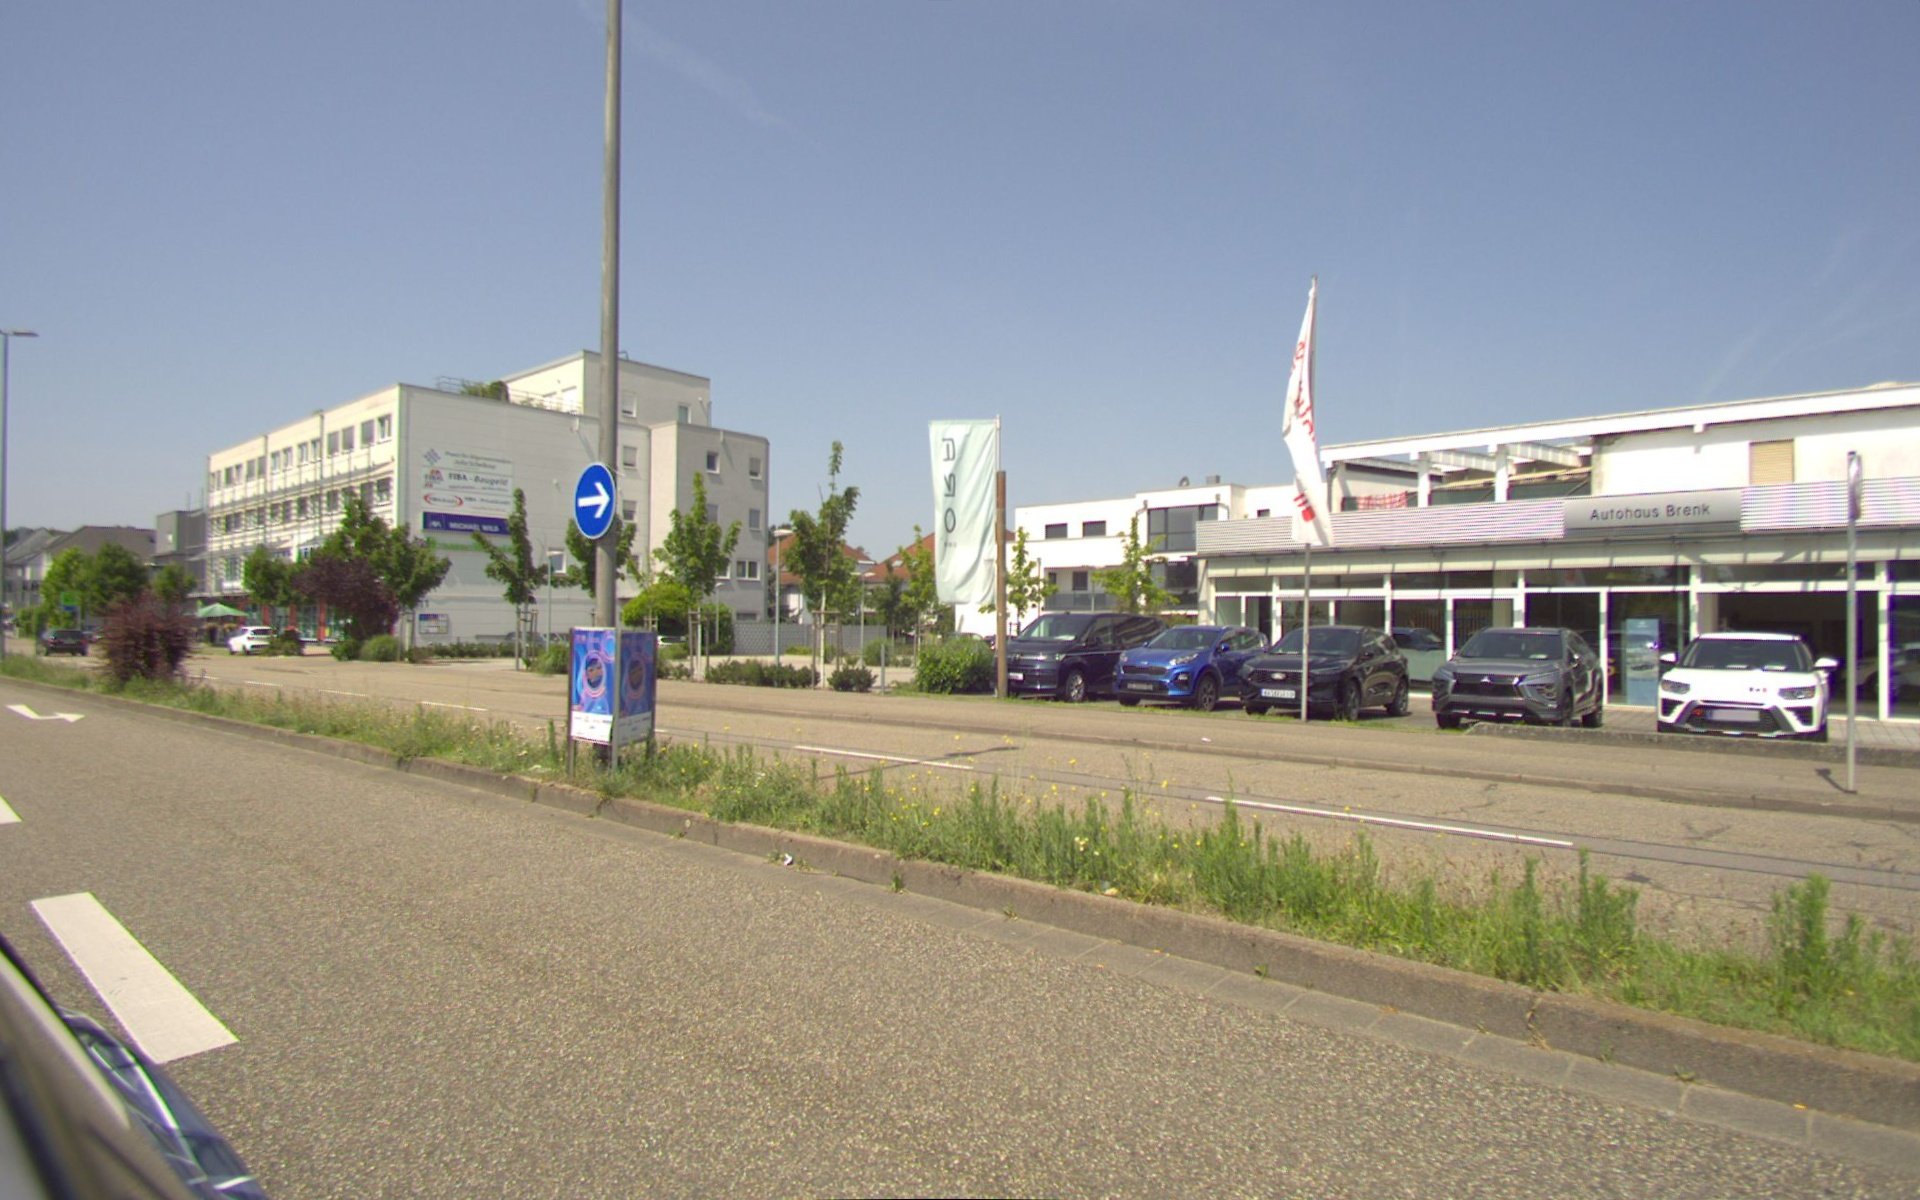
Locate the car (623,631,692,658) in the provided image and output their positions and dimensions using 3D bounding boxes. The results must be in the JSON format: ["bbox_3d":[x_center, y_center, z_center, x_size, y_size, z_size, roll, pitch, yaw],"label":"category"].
[{"bbox_3d":[-16.391,2.390,54.698,3.833,1.394,1.899,-2,-3,43],"label":"car"}]

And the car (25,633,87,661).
[{"bbox_3d":[-49.621,2.543,55.540,4.707,1.472,1.810,-1,-3,39],"label":"car"}]

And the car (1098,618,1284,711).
[{"bbox_3d":[4.648,1.230,19.959,2.087,1.621,3.948,-1,-3,39],"label":"car"}]

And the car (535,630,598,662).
[{"bbox_3d":[-19.727,2.277,50.625,3.556,1.530,1.536,-1,-2,43],"label":"car"}]

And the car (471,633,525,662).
[{"bbox_3d":[-22.490,2.298,49.248,2.833,1.350,1.437,-1,-2,43],"label":"car"}]

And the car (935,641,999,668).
[{"bbox_3d":[0.435,3.101,58.149,1.874,1.464,3.954,-1,-2,34],"label":"car"}]

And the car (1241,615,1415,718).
[{"bbox_3d":[6.642,1.197,18.030,1.758,1.621,3.948,-1,-5,39],"label":"car"}]

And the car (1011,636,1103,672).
[{"bbox_3d":[3.876,2.083,39.837,1.844,1.324,3.950,-1,-2,37],"label":"car"}]

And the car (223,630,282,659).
[{"bbox_3d":[-37.664,2.359,53.839,3.661,1.460,1.674,-1,-1,39],"label":"car"}]

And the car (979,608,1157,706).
[{"bbox_3d":[2.397,1.172,21.737,1.998,1.896,3.948,-1,-2,39],"label":"car"}]

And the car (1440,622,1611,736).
[{"bbox_3d":[9.114,1.182,16.163,1.758,1.580,3.948,-1,-3,39],"label":"car"}]

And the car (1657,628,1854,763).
[{"bbox_3d":[11.211,1.215,14.328,1.923,1.621,3.948,-1,-2,39],"label":"car"}]
